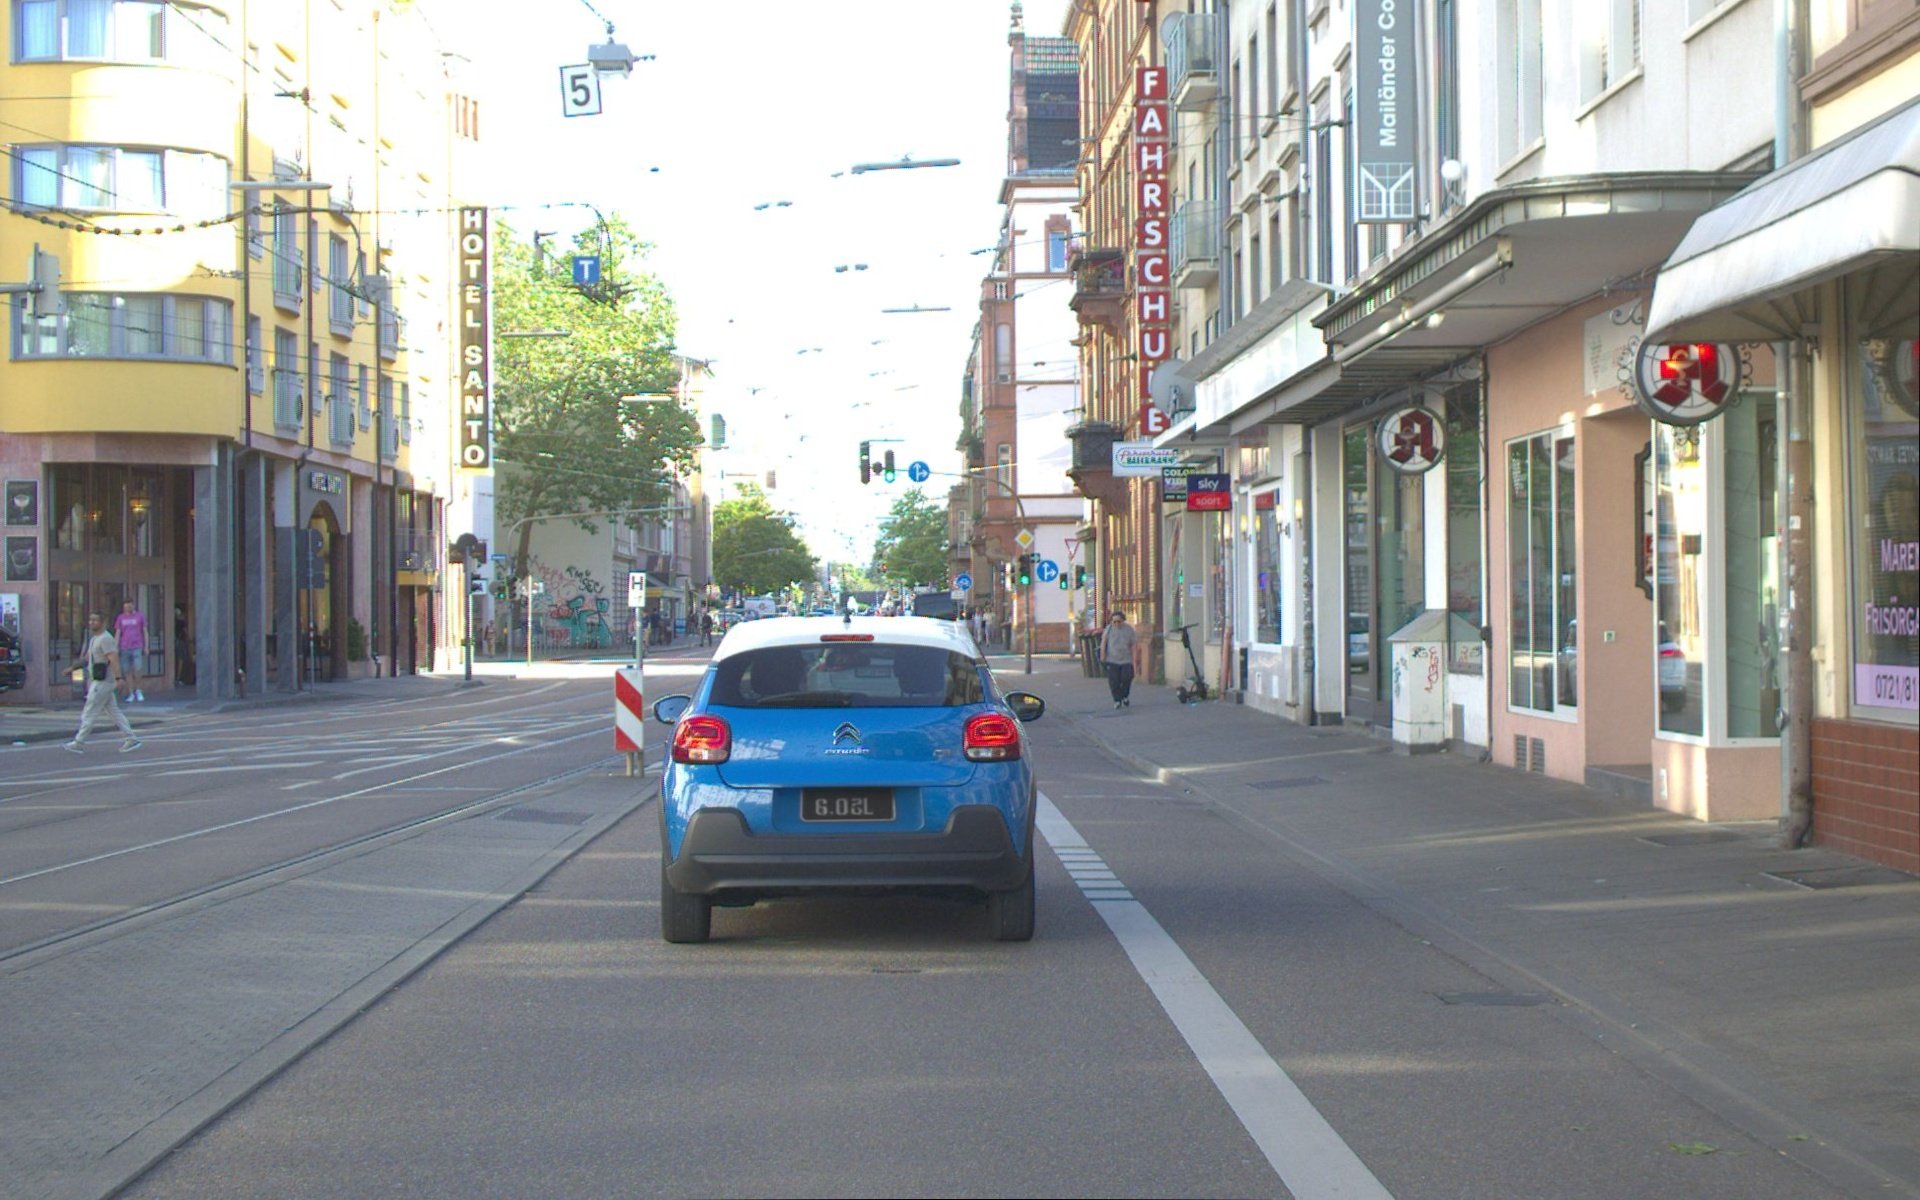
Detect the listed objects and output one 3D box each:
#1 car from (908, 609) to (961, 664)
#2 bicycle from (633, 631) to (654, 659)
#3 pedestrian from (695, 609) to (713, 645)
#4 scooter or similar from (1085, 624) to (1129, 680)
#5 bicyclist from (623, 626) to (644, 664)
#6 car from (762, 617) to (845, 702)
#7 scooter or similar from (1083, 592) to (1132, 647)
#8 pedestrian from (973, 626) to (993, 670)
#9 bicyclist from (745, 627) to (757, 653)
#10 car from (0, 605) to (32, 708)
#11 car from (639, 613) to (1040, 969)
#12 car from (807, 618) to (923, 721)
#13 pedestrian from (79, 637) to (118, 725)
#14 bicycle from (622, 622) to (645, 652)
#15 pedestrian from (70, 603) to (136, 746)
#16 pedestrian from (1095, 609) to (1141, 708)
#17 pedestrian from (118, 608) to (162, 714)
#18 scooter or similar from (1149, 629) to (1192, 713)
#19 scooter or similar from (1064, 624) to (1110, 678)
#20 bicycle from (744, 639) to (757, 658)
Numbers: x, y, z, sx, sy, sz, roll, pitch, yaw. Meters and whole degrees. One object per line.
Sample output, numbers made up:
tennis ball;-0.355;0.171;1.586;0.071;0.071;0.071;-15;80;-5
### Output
car;-1.181;1.656;157.598;2.271;2.428;5.720;-1;-1;-2
bicycle;-12.324;1.751;133.757;0.730;1.062;2.062;0;0;-3
pedestrian;-12.726;1.333;171.112;0.682;1.759;1.025;0;0;9
scooter or similar;3.215;1.124;75.006;0.790;1.144;0.790;-5;0;-3
bicyclist;-12.201;1.672;128.404;0.724;1.376;1.228;1;0;-3
car;-3.907;1.469;85.923;1.993;2.007;4.000;-1;0;-2
scooter or similar;3.289;0.438;76.570;0.933;1.144;0.650;-5;0;-3
pedestrian;0.949;1.973;141.893;0.705;1.776;0.673;2;-3;-3
bicyclist;-12.384;2.360;203.461;0.682;1.478;0.778;-1;-1;-2
car;-18.805;1.016;60.965;4.233;1.806;1.785;-1;-1;-1
car;-0.542;0.832;16.842;1.674;1.472;4.000;-2;0;-1
car;-1.473;1.038;52.333;1.667;1.473;4.000;-1;0;-2
pedestrian;-15.912;1.493;63.505;0.571;1.612;0.499;-1;-1;-3
bicycle;-12.191;1.385;128.370;0.730;1.084;2.062;0;0;-3
pedestrian;-10.652;0.922;42.764;0.713;1.758;0.780;0;0;-8
pedestrian;2.489;0.915;54.148;0.648;1.555;0.781;0;0;-3
pedestrian;-15.174;1.127;63.651;0.637;1.940;0.709;-1;-1;-3
scooter or similar;3.254;1.088;53.045;0.410;1.277;1.283;0;0;15
scooter or similar;2.863;1.146;77.632;0.897;1.144;0.547;-5;0;-3
bicycle;-12.389;2.881;203.586;0.692;1.116;2.084;-1;0;-2
